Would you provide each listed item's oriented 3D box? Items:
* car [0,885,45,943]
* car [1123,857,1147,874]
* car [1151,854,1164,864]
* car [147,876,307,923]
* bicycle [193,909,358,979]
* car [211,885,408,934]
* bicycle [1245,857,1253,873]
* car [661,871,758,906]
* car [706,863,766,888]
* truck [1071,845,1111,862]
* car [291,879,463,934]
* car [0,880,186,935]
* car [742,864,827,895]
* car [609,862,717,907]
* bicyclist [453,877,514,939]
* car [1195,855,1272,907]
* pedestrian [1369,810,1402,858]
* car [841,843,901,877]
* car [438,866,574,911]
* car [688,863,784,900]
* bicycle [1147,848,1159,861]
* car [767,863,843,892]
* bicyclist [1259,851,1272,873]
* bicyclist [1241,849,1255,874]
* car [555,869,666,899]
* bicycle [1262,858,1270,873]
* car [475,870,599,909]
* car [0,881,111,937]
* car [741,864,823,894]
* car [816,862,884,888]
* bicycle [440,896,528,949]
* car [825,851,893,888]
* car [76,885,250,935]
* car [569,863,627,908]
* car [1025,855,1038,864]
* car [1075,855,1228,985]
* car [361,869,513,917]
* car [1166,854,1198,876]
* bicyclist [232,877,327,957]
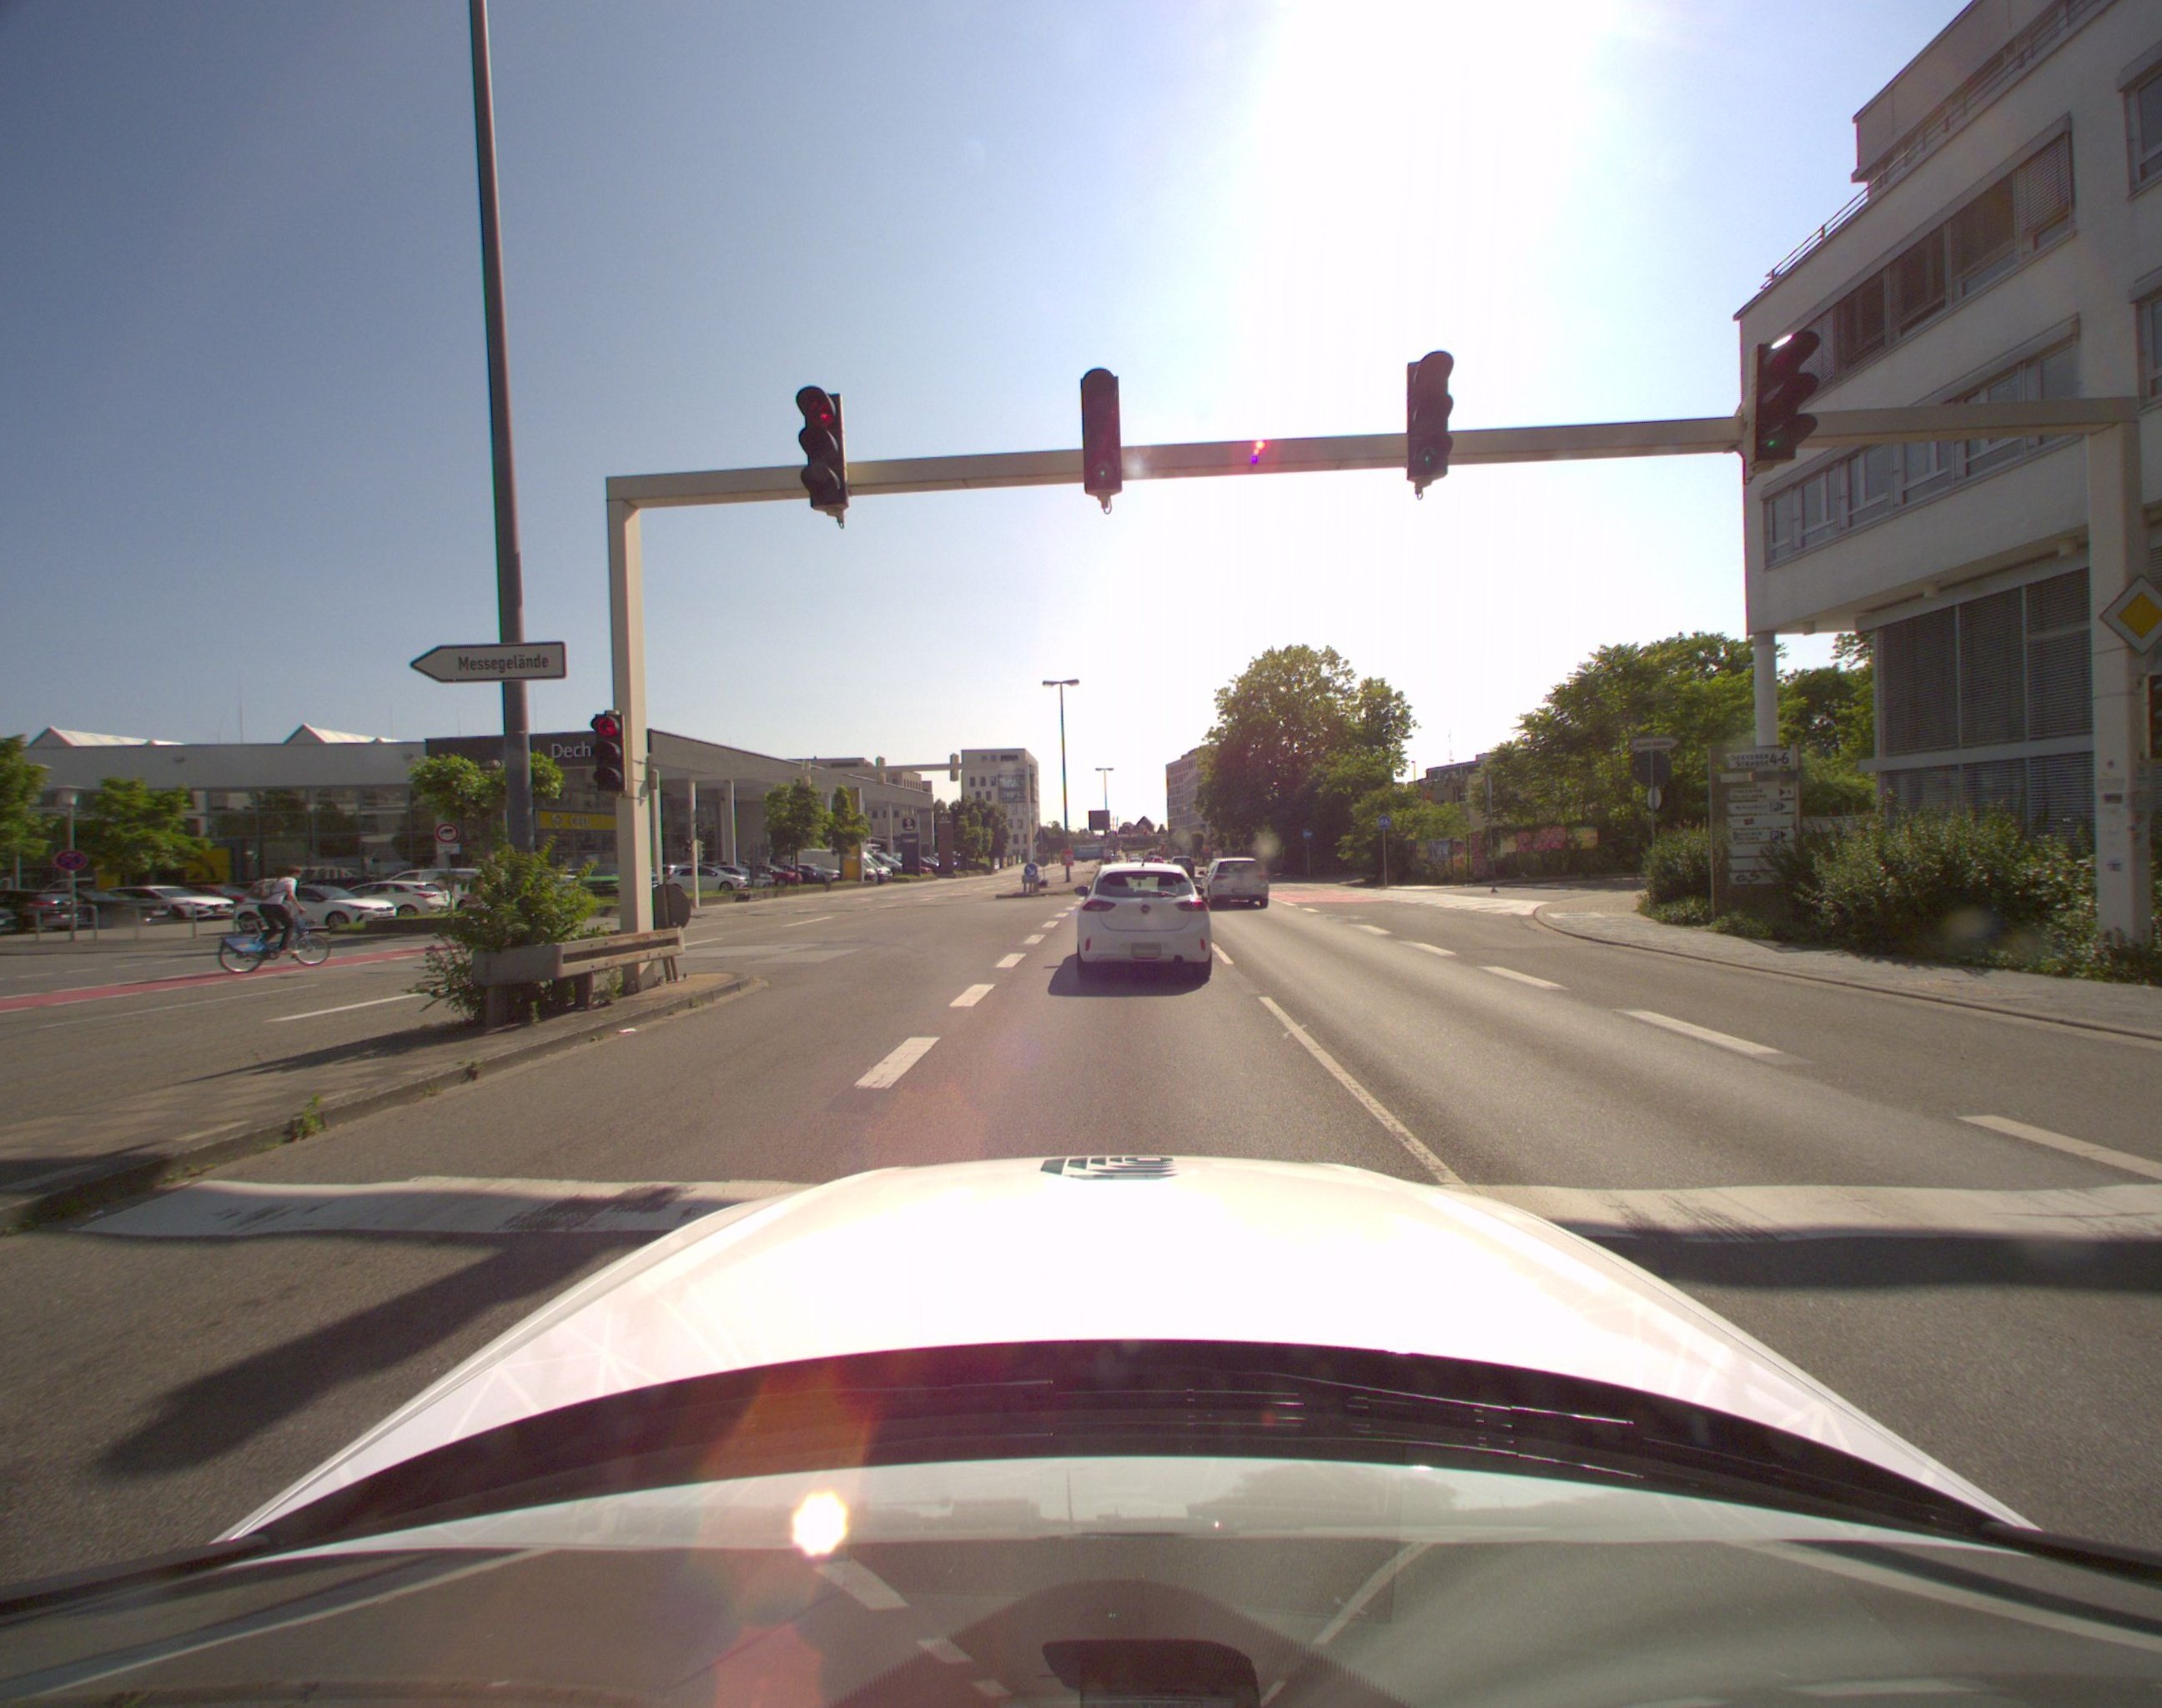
[{"bbox_3d":[-34.514,1.886,24.317,4.346,1.696,1.998,-2,0,-3],"label":"car"},{"bbox_3d":[4.860,1.031,73.634,1.986,1.447,4.372,-1,-1,1],"label":"car"},{"bbox_3d":[12.138,0.804,129.057,1.798,1.386,4.003,0,-1,3],"label":"car"},{"bbox_3d":[-35.845,1.884,34.288,4.350,1.696,1.996,-2,0,-5],"label":"car"},{"bbox_3d":[-15.510,1.706,15.789,0.762,1.116,2.169,-2,0,13],"label":"bicycle"},{"bbox_3d":[-24.949,1.782,26.468,4.346,1.300,1.998,-2,0,-3],"label":"car"},{"bbox_3d":[12.495,0.806,60.626,0.371,1.216,1.155,0,-1,3],"label":"bicycle"},{"bbox_3d":[-18.832,1.722,41.414,3.979,1.599,1.997,-2,0,-4],"label":"car"},{"bbox_3d":[-28.079,1.750,66.363,3.976,2.014,1.999,0,-1,-2],"label":"car"},{"bbox_3d":[2.457,-0.152,196.343,9.088,3.834,3.061,-2,0,-19],"label":"truck"},{"bbox_3d":[-25.508,1.869,29.638,4.346,1.696,1.998,-2,0,-3],"label":"car"},{"bbox_3d":[-35.393,1.884,29.127,4.346,1.696,1.998,-2,0,-3],"label":"car"},{"bbox_3d":[-17.859,1.519,49.163,4.342,1.696,2.000,-2,-1,0],"label":"car"},{"bbox_3d":[-19.052,1.392,37.234,3.857,1.838,2.000,-2,-2,0],"label":"car"},{"bbox_3d":[-14.860,1.316,20.277,0.767,1.460,1.025,-2,0,-6],"label":"bicyclist"},{"bbox_3d":[4.632,0.808,25.292,1.800,1.429,4.003,-2,-1,3],"label":"car"},{"bbox_3d":[13.178,-0.851,35.244,1.023,2.014,1.039,-2,-1,3],"label":"pedestrian"},{"bbox_3d":[-17.525,0.503,68.151,4.332,2.601,2.005,-2,-1,8],"label":"car"},{"bbox_3d":[-24.977,1.465,35.542,4.351,1.696,1.996,-2,0,-6],"label":"car"},{"bbox_3d":[-18.600,1.472,44.052,4.282,1.765,2.000,-2,0,0],"label":"car"},{"bbox_3d":[13.123,0.100,149.375,1.985,2.157,4.003,-2,0,3],"label":"bicycle"},{"bbox_3d":[-18.444,1.549,54.629,4.342,1.696,2.000,-2,0,0],"label":"car"},{"bbox_3d":[13.624,0.599,60.124,0.687,1.643,0.775,-2,-1,-5],"label":"bicyclist"},{"bbox_3d":[12.445,0.554,60.660,0.875,1.772,0.864,-2,-1,3],"label":"bicyclist"},{"bbox_3d":[-23.766,1.510,41.270,4.350,1.268,1.996,-3,-2,-5],"label":"car"},{"bbox_3d":[13.636,0.855,60.096,0.372,1.147,1.034,0,-1,1],"label":"bicycle"},{"bbox_3d":[-25.423,1.624,38.197,4.350,1.591,1.996,-2,0,-5],"label":"car"},{"bbox_3d":[-35.492,1.845,26.863,4.346,1.696,1.998,-2,0,-3],"label":"car"},{"bbox_3d":[-18.830,1.556,51.439,4.342,1.696,2.000,-2,0,0],"label":"car"},{"bbox_3d":[-17.118,1.543,60.346,4.332,1.696,2.005,-2,0,8],"label":"car"},{"bbox_3d":[-14.830,1.677,20.299,0.767,1.116,2.156,-2,0,-7],"label":"bicycle"},{"bbox_3d":[-17.044,1.153,62.715,4.467,2.684,2.135,-2,-1,11],"label":"car"},{"bbox_3d":[-35.846,2.155,31.892,4.346,1.696,1.998,-2,0,-3],"label":"car"},{"bbox_3d":[-20.477,1.330,34.464,1.914,1.733,3.259,-2,-2,-34],"label":"car"},{"bbox_3d":[-8.268,0.908,136.865,1.798,1.386,4.003,0,-1,3],"label":"car"},{"bbox_3d":[0.944,0.790,11.690,1.772,1.494,4.003,-2,0,3],"label":"car"},{"bbox_3d":[-25.865,1.549,32.838,4.351,1.696,1.996,-2,0,-6],"label":"car"},{"bbox_3d":[7.563,0.781,61.387,1.985,1.551,4.437,-2,0,3],"label":"car"},{"bbox_3d":[-15.547,1.195,15.814,0.762,1.460,1.031,-2,0,15],"label":"bicyclist"}]
